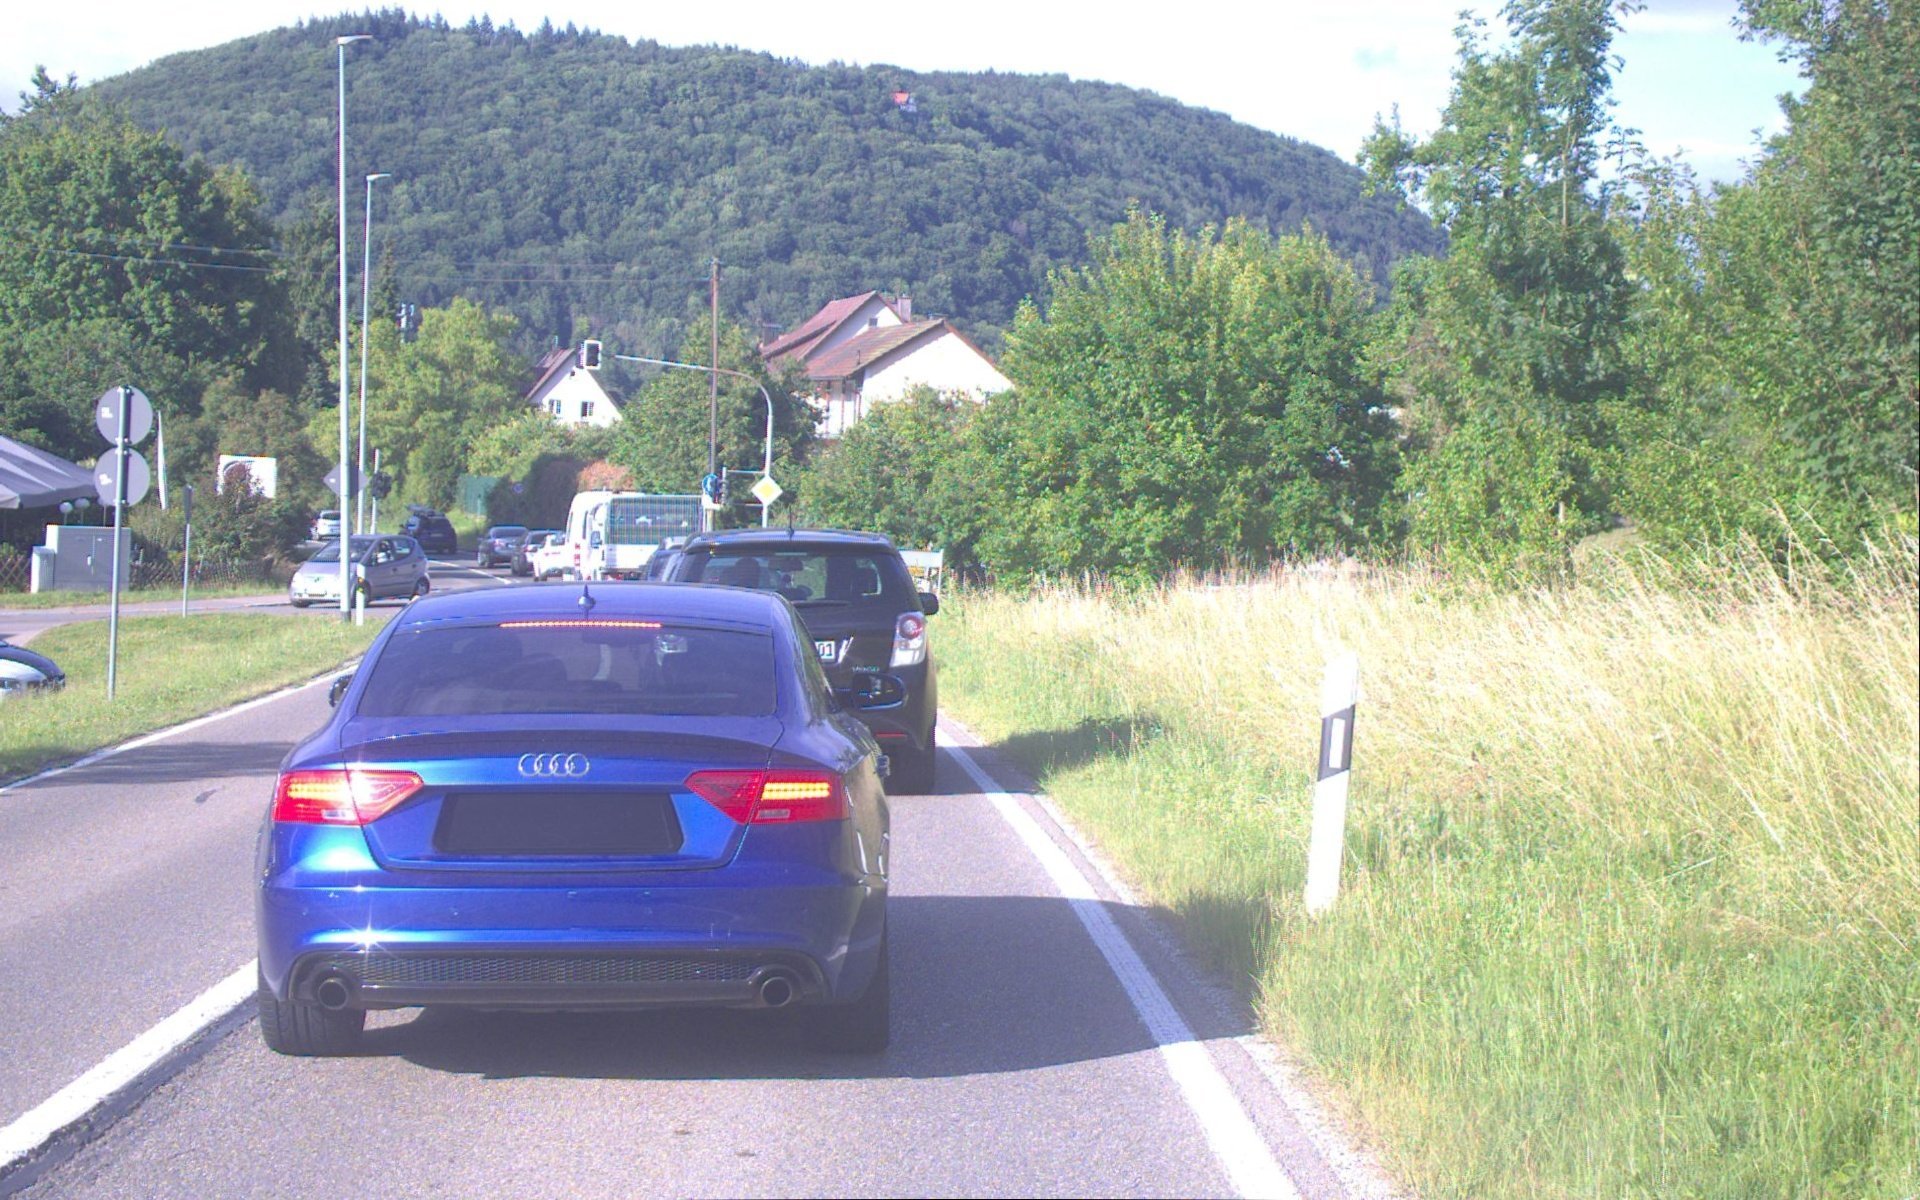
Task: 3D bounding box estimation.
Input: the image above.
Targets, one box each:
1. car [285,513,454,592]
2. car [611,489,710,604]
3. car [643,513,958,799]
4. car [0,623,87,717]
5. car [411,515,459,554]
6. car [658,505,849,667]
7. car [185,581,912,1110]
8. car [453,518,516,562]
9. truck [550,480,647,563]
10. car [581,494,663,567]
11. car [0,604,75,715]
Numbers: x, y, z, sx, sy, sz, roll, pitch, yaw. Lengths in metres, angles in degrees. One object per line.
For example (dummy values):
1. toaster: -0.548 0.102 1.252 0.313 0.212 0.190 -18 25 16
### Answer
1. car: -12.915 -1.032 75.320 1.738 1.656 3.464 1 0 33
2. car: -5.957 -1.040 68.019 1.746 2.188 4.001 1 0 -8
3. car: -0.927 0.312 21.957 1.746 1.634 4.000 1 0 1
4. car: -15.109 0.993 50.625 3.987 1.306 1.760 1 0 5
5. car: -21.860 -2.714 143.075 1.625 1.571 3.680 1 0 -13
6. car: -2.188 -0.157 37.434 1.804 1.634 4.463 1 0 0
7. car: -1.109 0.632 11.016 1.795 1.383 4.000 0 0 1
8. car: -16.875 -2.109 121.855 1.697 1.485 3.528 1 0 -16
9. truck: -9.018 -1.910 85.508 1.697 1.947 5.924 1 0 -13
10. car: -7.912 -1.600 80.219 1.746 1.634 4.001 1 0 -8
11. car: -15.107 0.781 48.298 4.815 1.488 1.880 1 0 9
